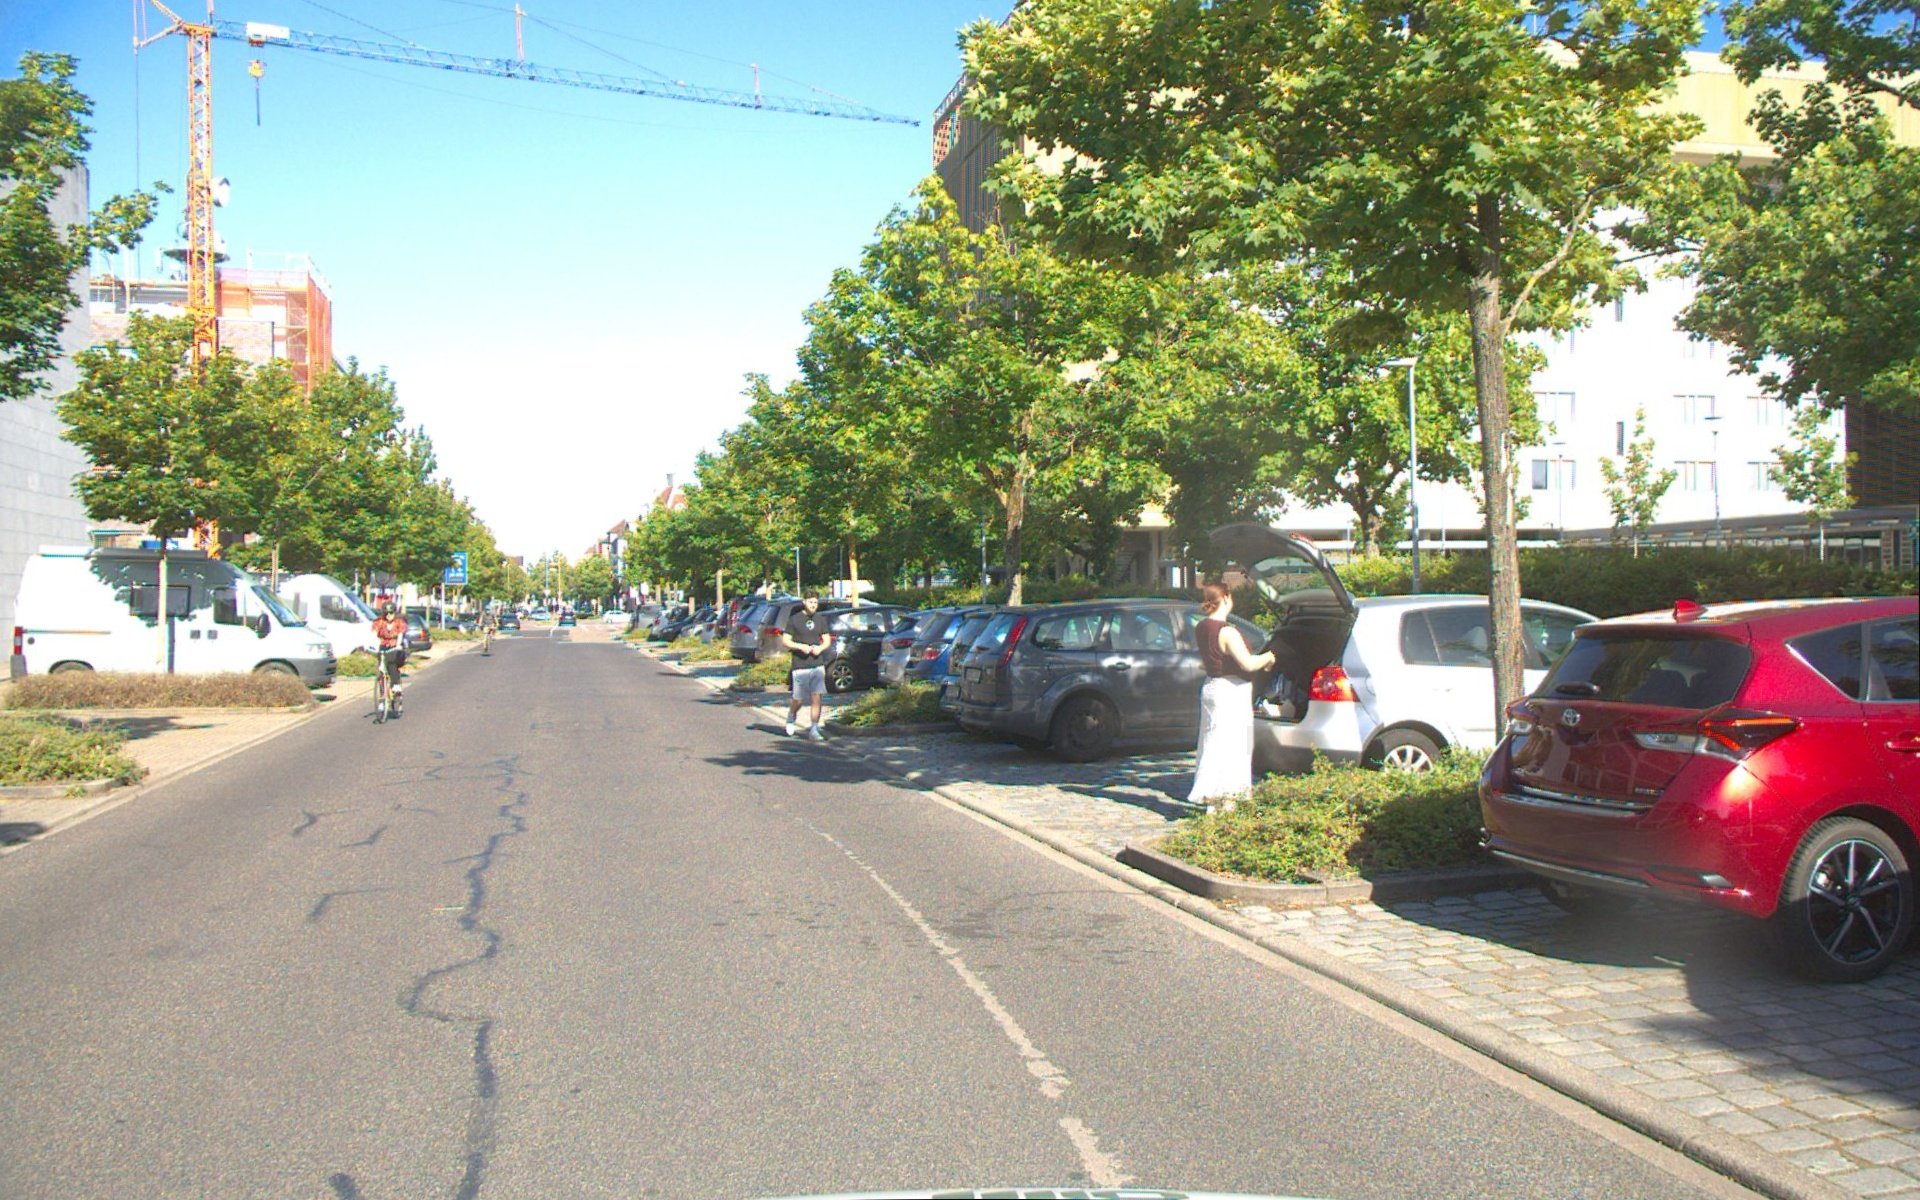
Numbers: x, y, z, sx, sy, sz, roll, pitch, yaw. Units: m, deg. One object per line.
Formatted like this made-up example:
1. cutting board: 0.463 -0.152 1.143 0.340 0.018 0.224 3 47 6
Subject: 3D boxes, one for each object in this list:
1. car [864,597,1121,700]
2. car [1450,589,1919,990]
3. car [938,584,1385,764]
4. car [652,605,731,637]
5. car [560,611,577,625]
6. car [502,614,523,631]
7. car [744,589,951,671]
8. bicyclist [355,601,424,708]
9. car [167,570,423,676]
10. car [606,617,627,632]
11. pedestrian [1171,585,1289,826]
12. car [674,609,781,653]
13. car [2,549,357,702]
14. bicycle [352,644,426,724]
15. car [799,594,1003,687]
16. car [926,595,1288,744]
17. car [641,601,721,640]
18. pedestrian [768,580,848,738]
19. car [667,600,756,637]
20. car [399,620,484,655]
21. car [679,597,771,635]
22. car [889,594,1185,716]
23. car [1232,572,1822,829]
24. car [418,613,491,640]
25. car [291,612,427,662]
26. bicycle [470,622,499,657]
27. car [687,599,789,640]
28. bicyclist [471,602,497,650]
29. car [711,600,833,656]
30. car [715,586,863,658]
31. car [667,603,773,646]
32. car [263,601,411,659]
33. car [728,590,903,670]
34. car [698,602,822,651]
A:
1. car: 0.469 0.718 25.856 3.668 1.441 1.836 -2 0 -13
2. car: 4.352 0.678 7.415 3.836 1.451 1.665 -1 -1 -16
3. car: 2.000 0.683 16.683 4.118 1.546 1.729 -2 0 -16
4. car: -13.182 1.040 81.178 3.703 1.485 1.811 -1 -1 -15
5. car: -42.796 1.961 180.763 1.780 1.500 4.097 -1 1 -13
6. car: -41.556 2.090 153.640 1.781 1.500 4.094 -1 1 -15
7. car: -2.524 0.647 36.853 4.253 1.636 1.903 -2 0 -18
8. bicyclist: -8.161 0.766 23.681 0.744 1.456 1.128 -2 0 -12
9. car: -16.056 0.571 40.254 5.454 2.452 1.981 1 0 -13
10. car: -38.455 2.718 185.076 1.957 1.500 4.093 -1 1 -16
11. pedestrian: 1.886 0.702 11.493 0.748 1.606 0.674 0 1 14
12. car: -8.799 1.155 62.475 3.836 1.512 1.736 -1 0 -15
13. car: -13.399 0.461 28.763 5.158 2.461 2.116 1 -1 -13
14. bicycle: -8.140 1.176 23.647 0.744 1.020 1.866 -2 0 -12
15. car: -1.110 0.730 30.358 3.397 1.515 1.739 -2 -1 -16
16. car: 1.669 0.743 19.033 3.836 1.493 1.614 -1 1 -16
17. car: -14.256 1.026 84.594 3.919 1.912 1.676 -1 0 -14
18. pedestrian: -1.833 0.692 19.850 0.707 1.802 1.164 -2 0 -15
19. car: -11.554 0.848 76.866 3.919 1.610 2.024 -1 -1 -14
20. car: -27.403 1.976 87.562 4.191 1.694 1.593 -1 1 -15
21. car: -10.548 0.723 74.036 3.919 1.565 1.855 -1 -1 -14
22. car: 1.051 0.730 23.379 3.827 1.524 1.836 -2 0 -13
23. car: 4.103 0.632 12.098 3.836 1.605 1.672 -1 1 -16
24. car: -31.224 1.620 102.265 4.263 1.500 1.809 -1 1 -18
25. car: -19.687 1.206 54.346 4.064 1.518 1.860 1 1 -17
26. bicycle: -16.412 1.361 57.104 0.685 1.130 2.075 -2 0 -9
27. car: -8.781 0.750 65.372 3.800 1.531 1.645 -1 0 -17
28. bicyclist: -16.439 0.895 57.158 0.671 1.608 1.059 -2 0 -9
29. car: -5.832 0.848 51.219 3.547 1.576 1.700 -1 1 -16
30. car: -5.052 0.621 48.718 4.052 1.961 1.970 -1 1 -16
31. car: -9.774 0.981 67.314 4.076 1.607 1.734 -2 0 -15
32. car: -18.904 0.915 50.305 3.916 1.693 1.823 1 -1 -11
33. car: -3.428 0.665 39.081 3.836 1.725 1.932 -1 1 -16
34. car: -6.756 0.871 55.751 3.992 1.450 1.736 -2 0 -13
